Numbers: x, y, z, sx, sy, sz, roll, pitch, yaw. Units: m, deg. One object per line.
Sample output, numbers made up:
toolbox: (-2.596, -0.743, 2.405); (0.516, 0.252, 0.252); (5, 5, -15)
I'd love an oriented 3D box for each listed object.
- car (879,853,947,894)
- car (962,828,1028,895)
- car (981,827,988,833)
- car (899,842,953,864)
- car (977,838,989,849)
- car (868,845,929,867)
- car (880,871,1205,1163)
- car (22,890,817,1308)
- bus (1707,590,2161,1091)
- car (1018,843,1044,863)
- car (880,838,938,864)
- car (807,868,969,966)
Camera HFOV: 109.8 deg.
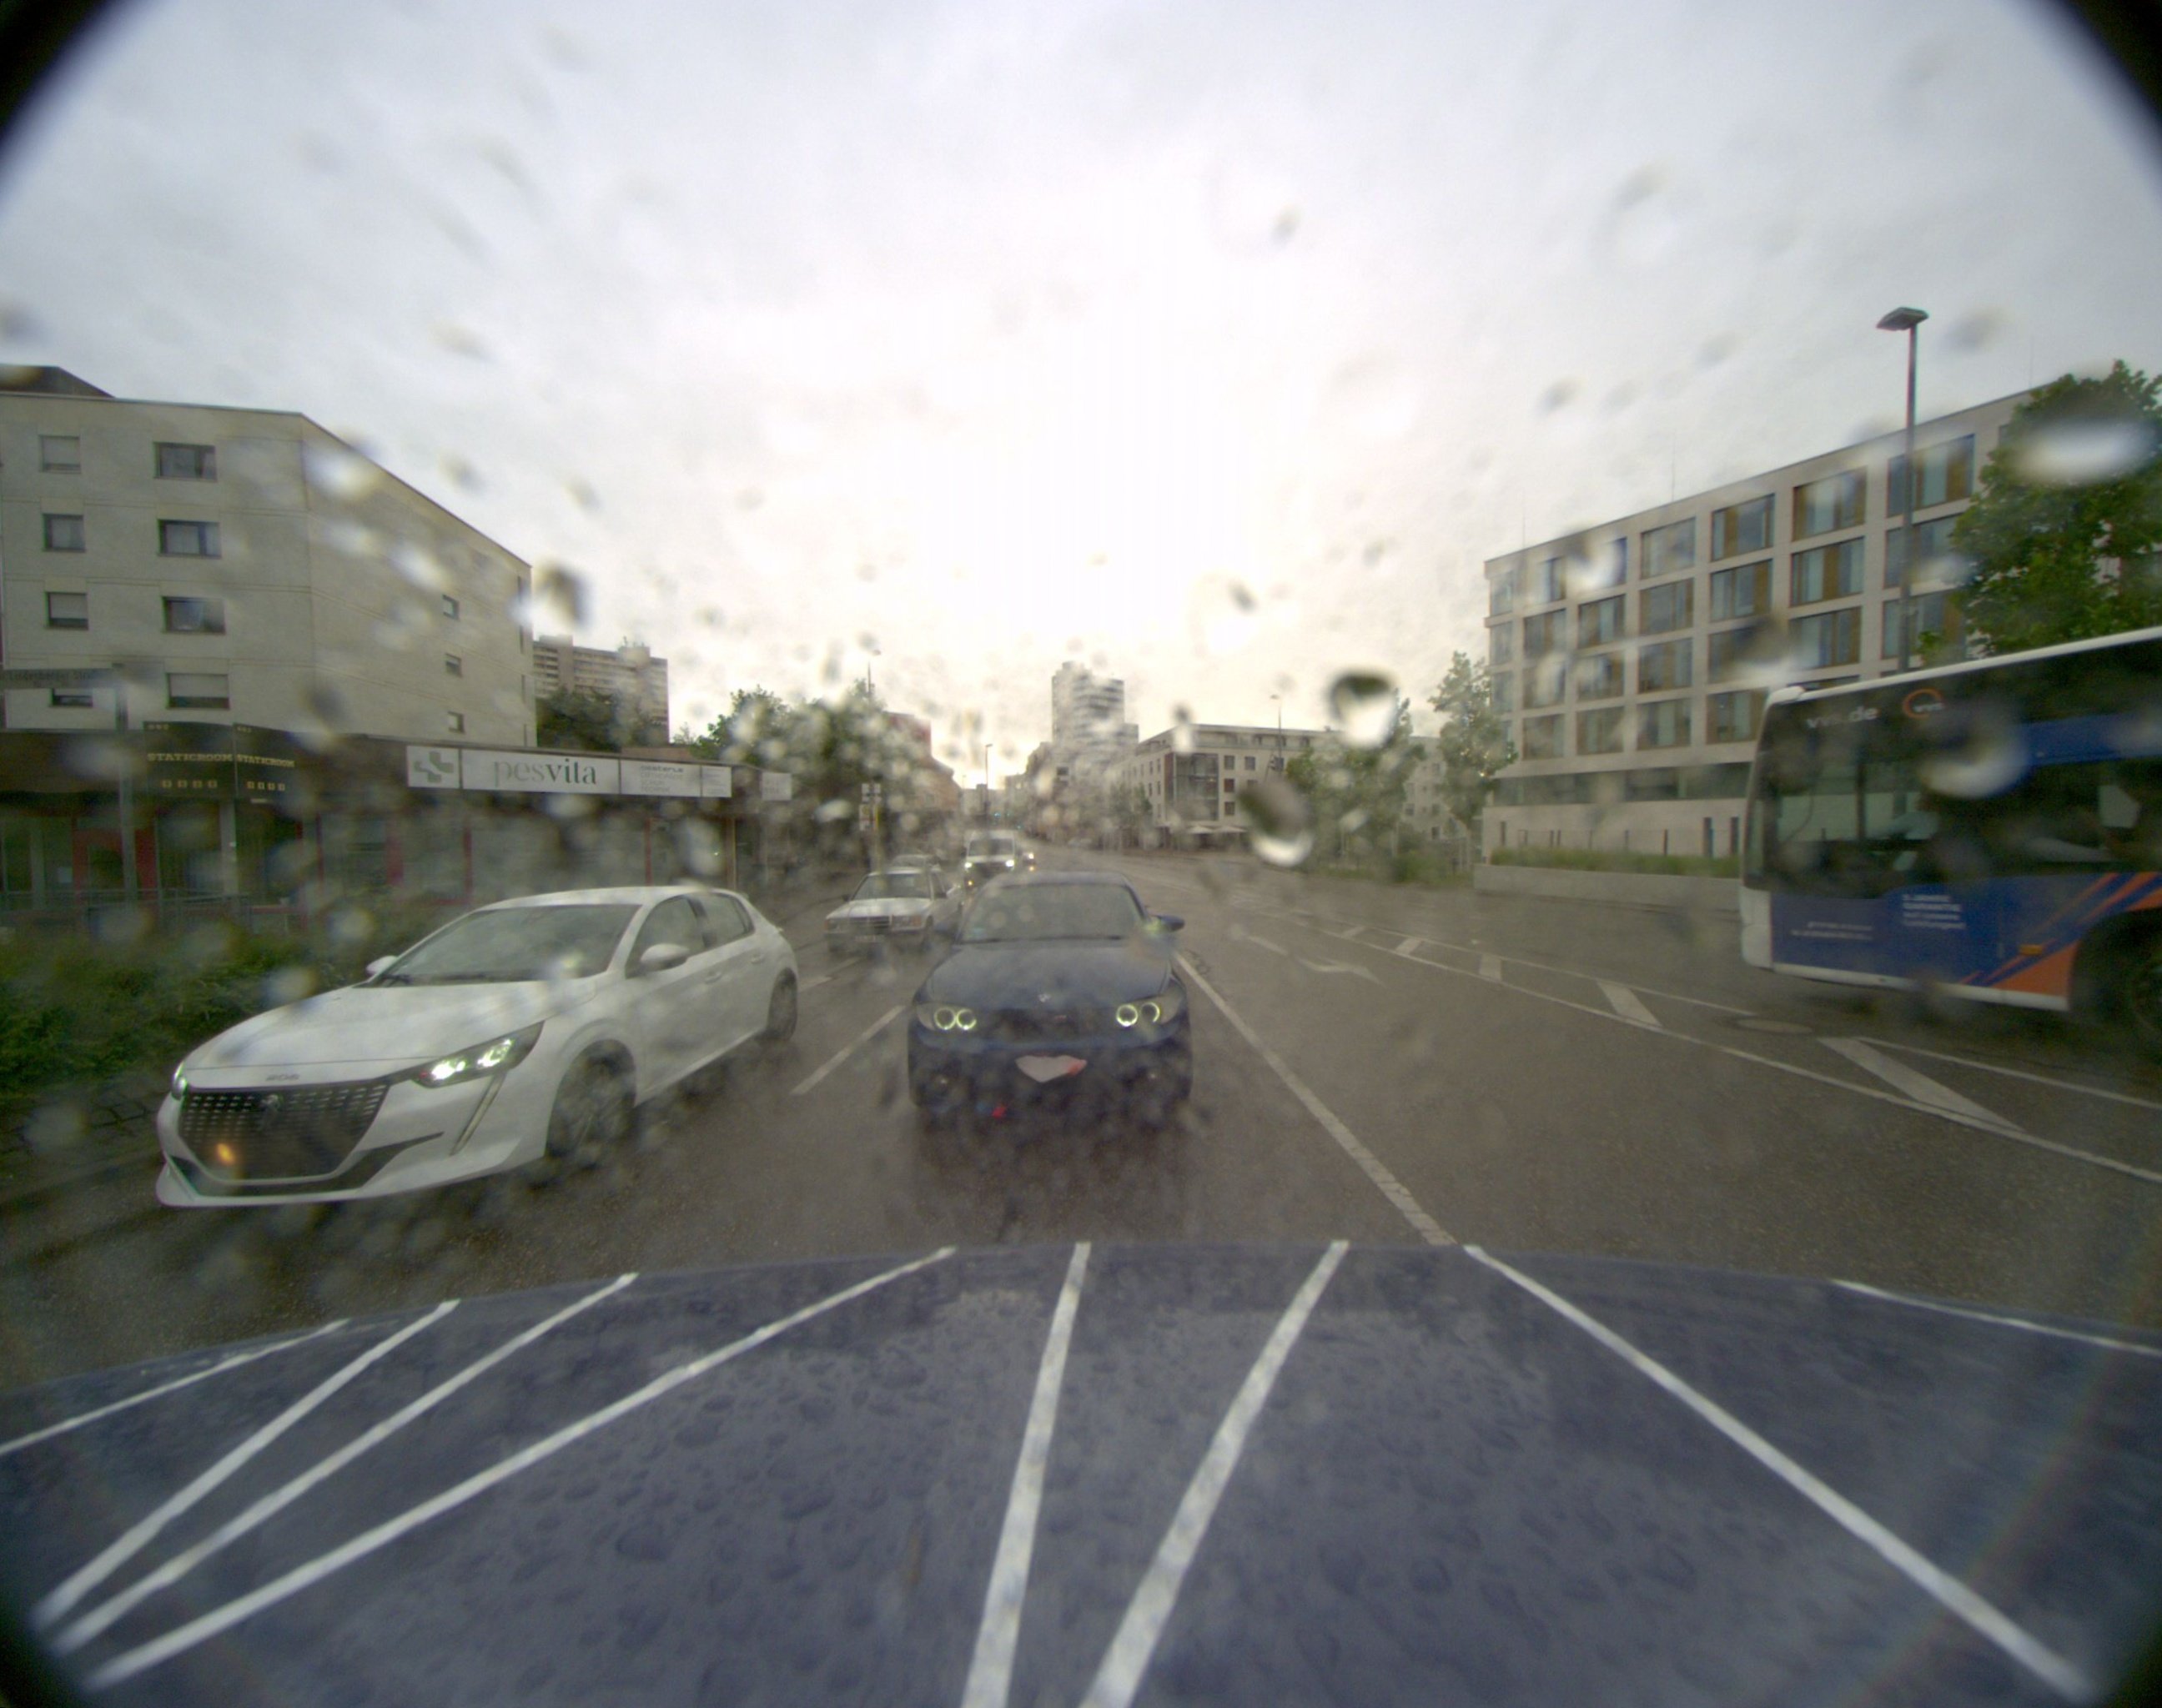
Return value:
car: (-6.903, 0.765, 31.603); (1.788, 1.481, 4.000); (-2, 1, 1)
car: (-3.475, 0.213, 31.897); (2.197, 2.503, 6.120); (-1, 1, -2)
car: (-26.858, -6.716, 212.038); (1.666, 1.625, 3.801); (-2, 1, -11)
car: (-11.988, -0.082, 58.926); (4.000, 1.584, 1.883); (-1, -1, -10)
car: (-18.030, -1.948, 139.650); (2.000, 2.002, 3.997); (-2, 1, -6)
car: (-12.693, 0.117, 53.094); (4.000, 1.419, 1.882); (-1, 1, -10)
car: (-0.245, 0.914, 6.060); (1.693, 1.380, 3.999); (-2, 1, -1)
car: (-3.361, 1.083, 5.103); (1.666, 1.407, 4.114); (-2, 1, 1)
bus: (8.464, -0.081, 3.343); (2.802, 3.096, 8.871); (-1, 1, -14)
car: (-4.071, -0.100, 62.284); (1.803, 1.530, 3.999); (-2, 1, 1)
car: (-12.531, -0.233, 55.481); (4.000, 1.769, 1.882); (-1, 1, -10)
car: (-3.298, 1.016, 13.876); (1.788, 1.338, 4.162); (-2, 1, 1)
